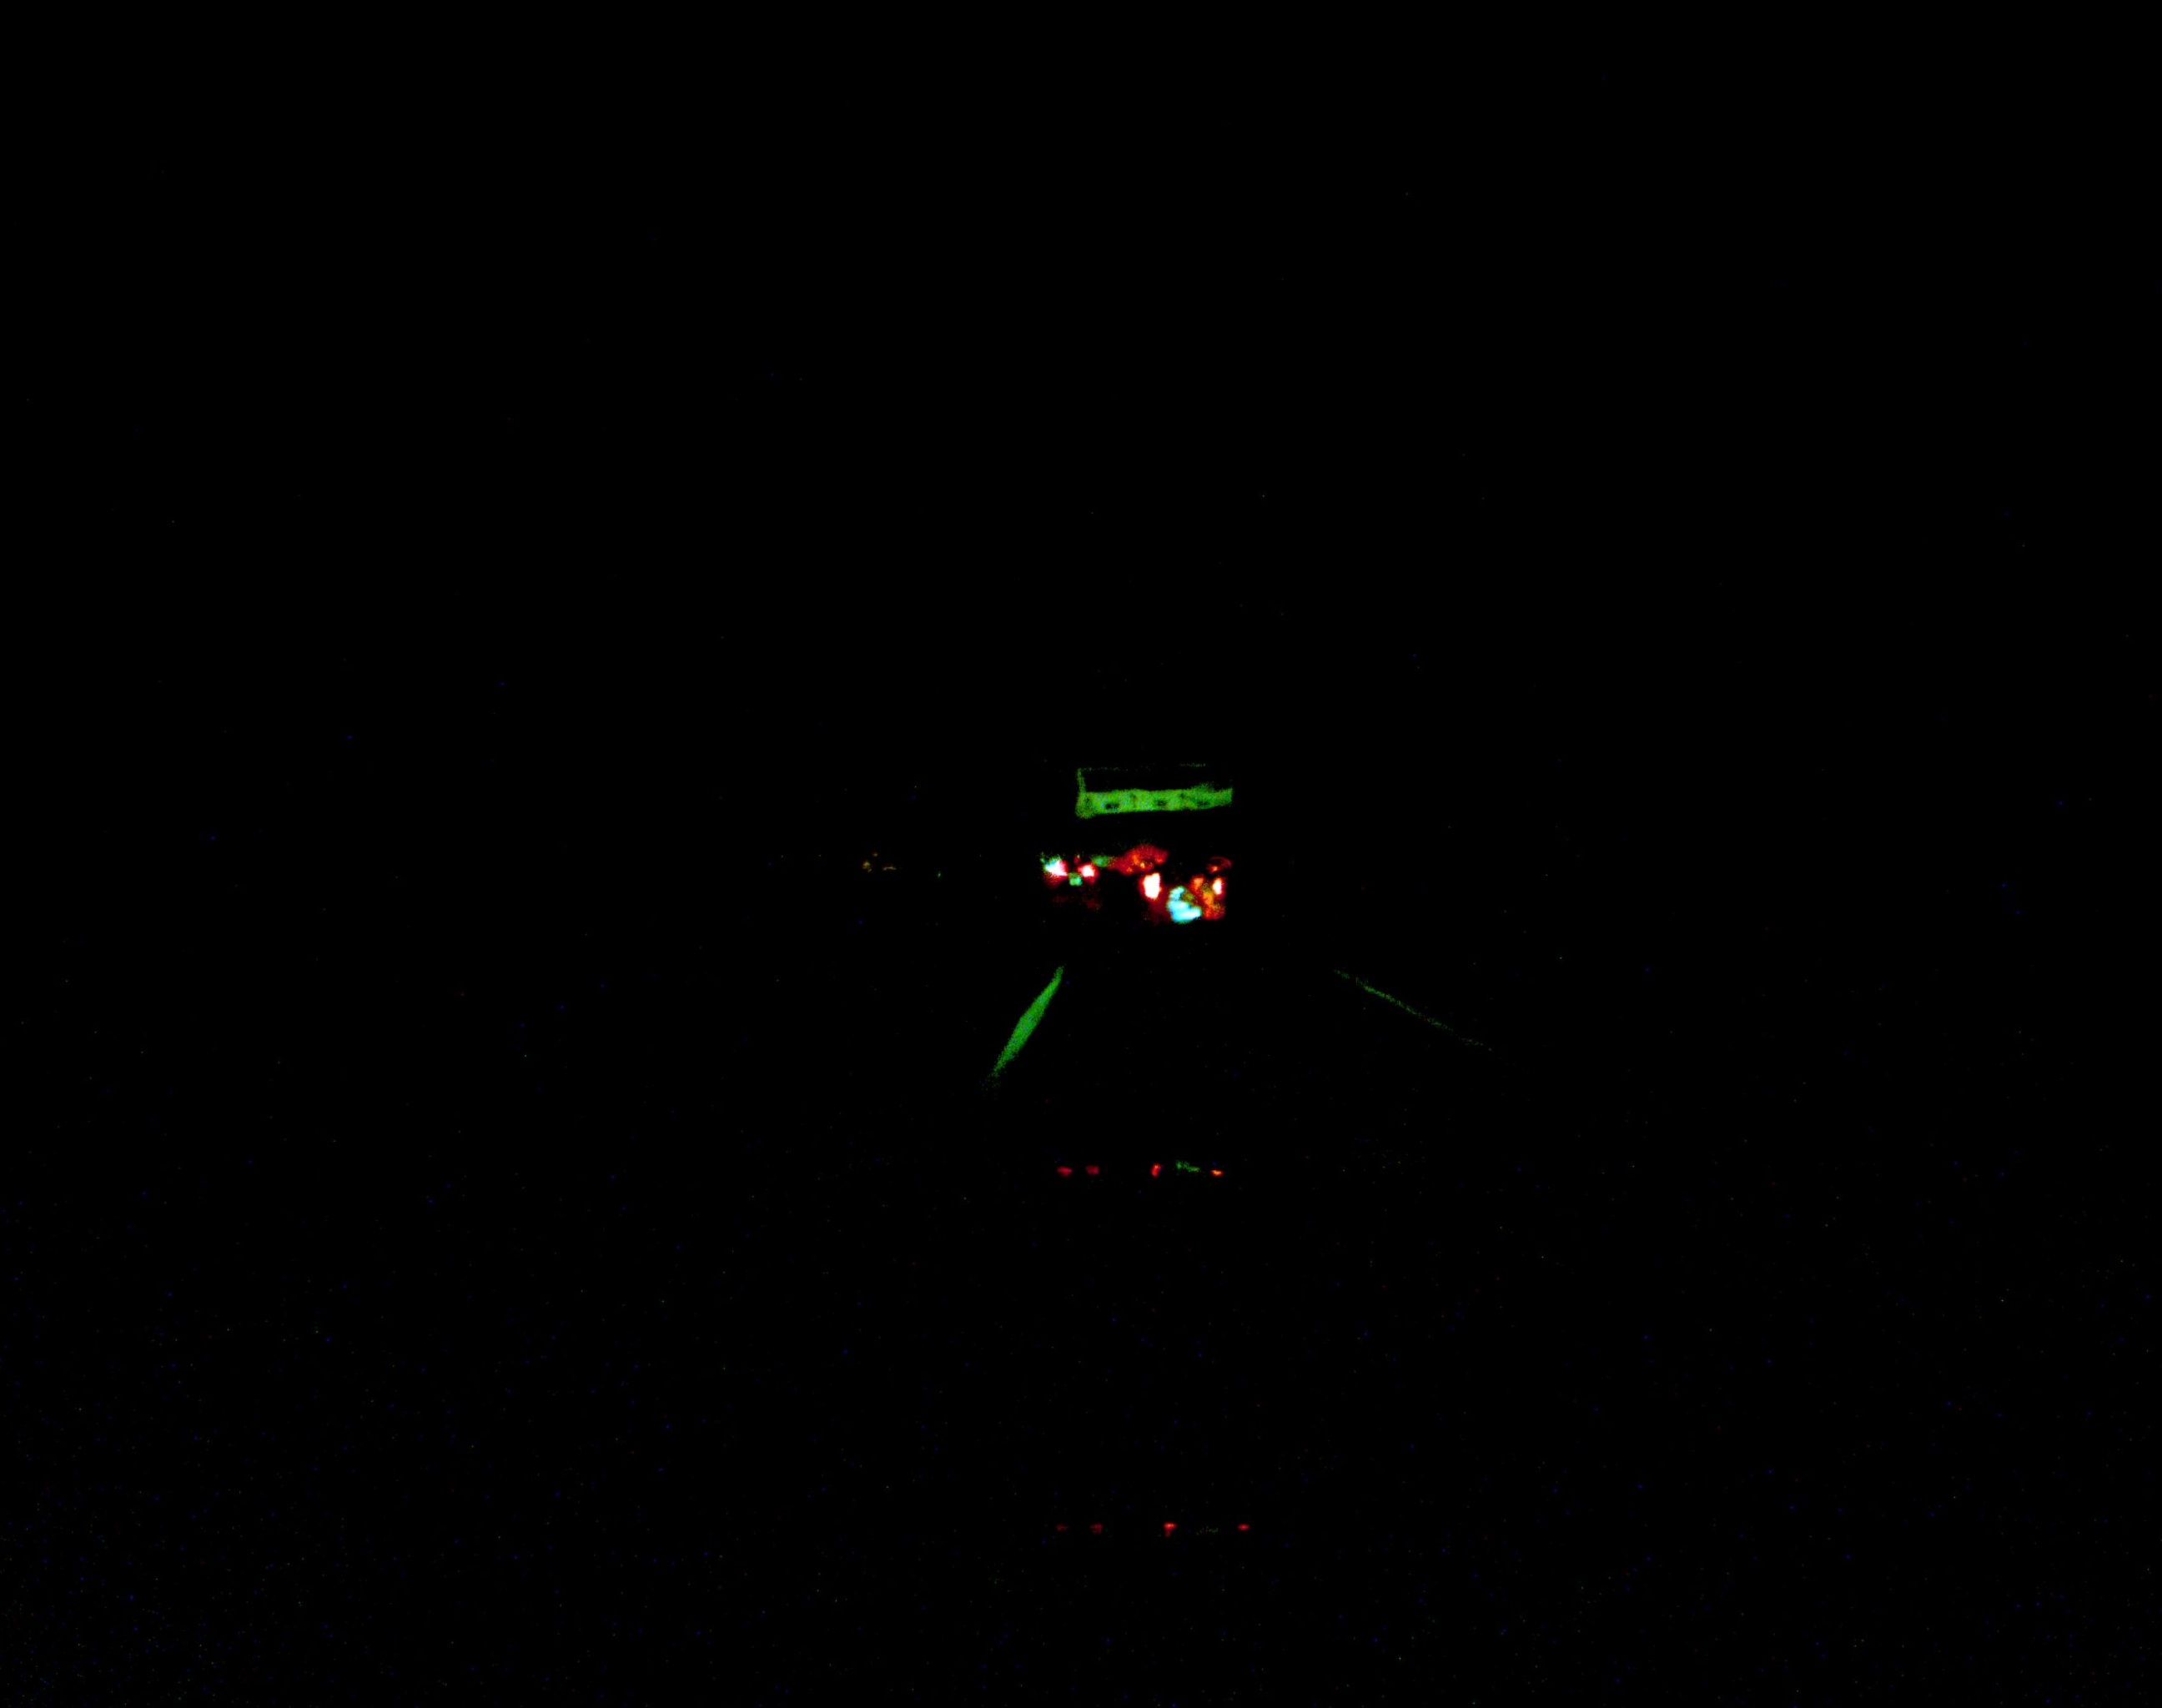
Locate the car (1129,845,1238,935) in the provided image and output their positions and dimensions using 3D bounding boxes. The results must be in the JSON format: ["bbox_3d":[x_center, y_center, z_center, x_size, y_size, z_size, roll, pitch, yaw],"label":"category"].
[{"bbox_3d":[2.060,0.698,17.486,1.908,1.594,4.236,-3,-1,2],"label":"car"}]

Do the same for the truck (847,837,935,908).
[{"bbox_3d":[-15.892,1.425,69.534,3.825,5.544,12.223,0,0,4],"label":"truck"}]

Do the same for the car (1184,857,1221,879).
[{"bbox_3d":[7.789,0.864,52.507,1.883,1.354,4.002,0,0,2],"label":"car"}]

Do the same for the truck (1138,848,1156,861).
[{"bbox_3d":[16.499,0.108,204.312,3.821,3.055,11.009,0,0,2],"label":"truck"}]

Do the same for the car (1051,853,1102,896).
[{"bbox_3d":[-0.154,0.914,38.018,1.985,1.777,4.891,-3,-1,3],"label":"car"}]

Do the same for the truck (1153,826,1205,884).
[{"bbox_3d":[10.268,0.118,87.143,4.151,5.544,13.081,-3,-1,2],"label":"truck"}]
